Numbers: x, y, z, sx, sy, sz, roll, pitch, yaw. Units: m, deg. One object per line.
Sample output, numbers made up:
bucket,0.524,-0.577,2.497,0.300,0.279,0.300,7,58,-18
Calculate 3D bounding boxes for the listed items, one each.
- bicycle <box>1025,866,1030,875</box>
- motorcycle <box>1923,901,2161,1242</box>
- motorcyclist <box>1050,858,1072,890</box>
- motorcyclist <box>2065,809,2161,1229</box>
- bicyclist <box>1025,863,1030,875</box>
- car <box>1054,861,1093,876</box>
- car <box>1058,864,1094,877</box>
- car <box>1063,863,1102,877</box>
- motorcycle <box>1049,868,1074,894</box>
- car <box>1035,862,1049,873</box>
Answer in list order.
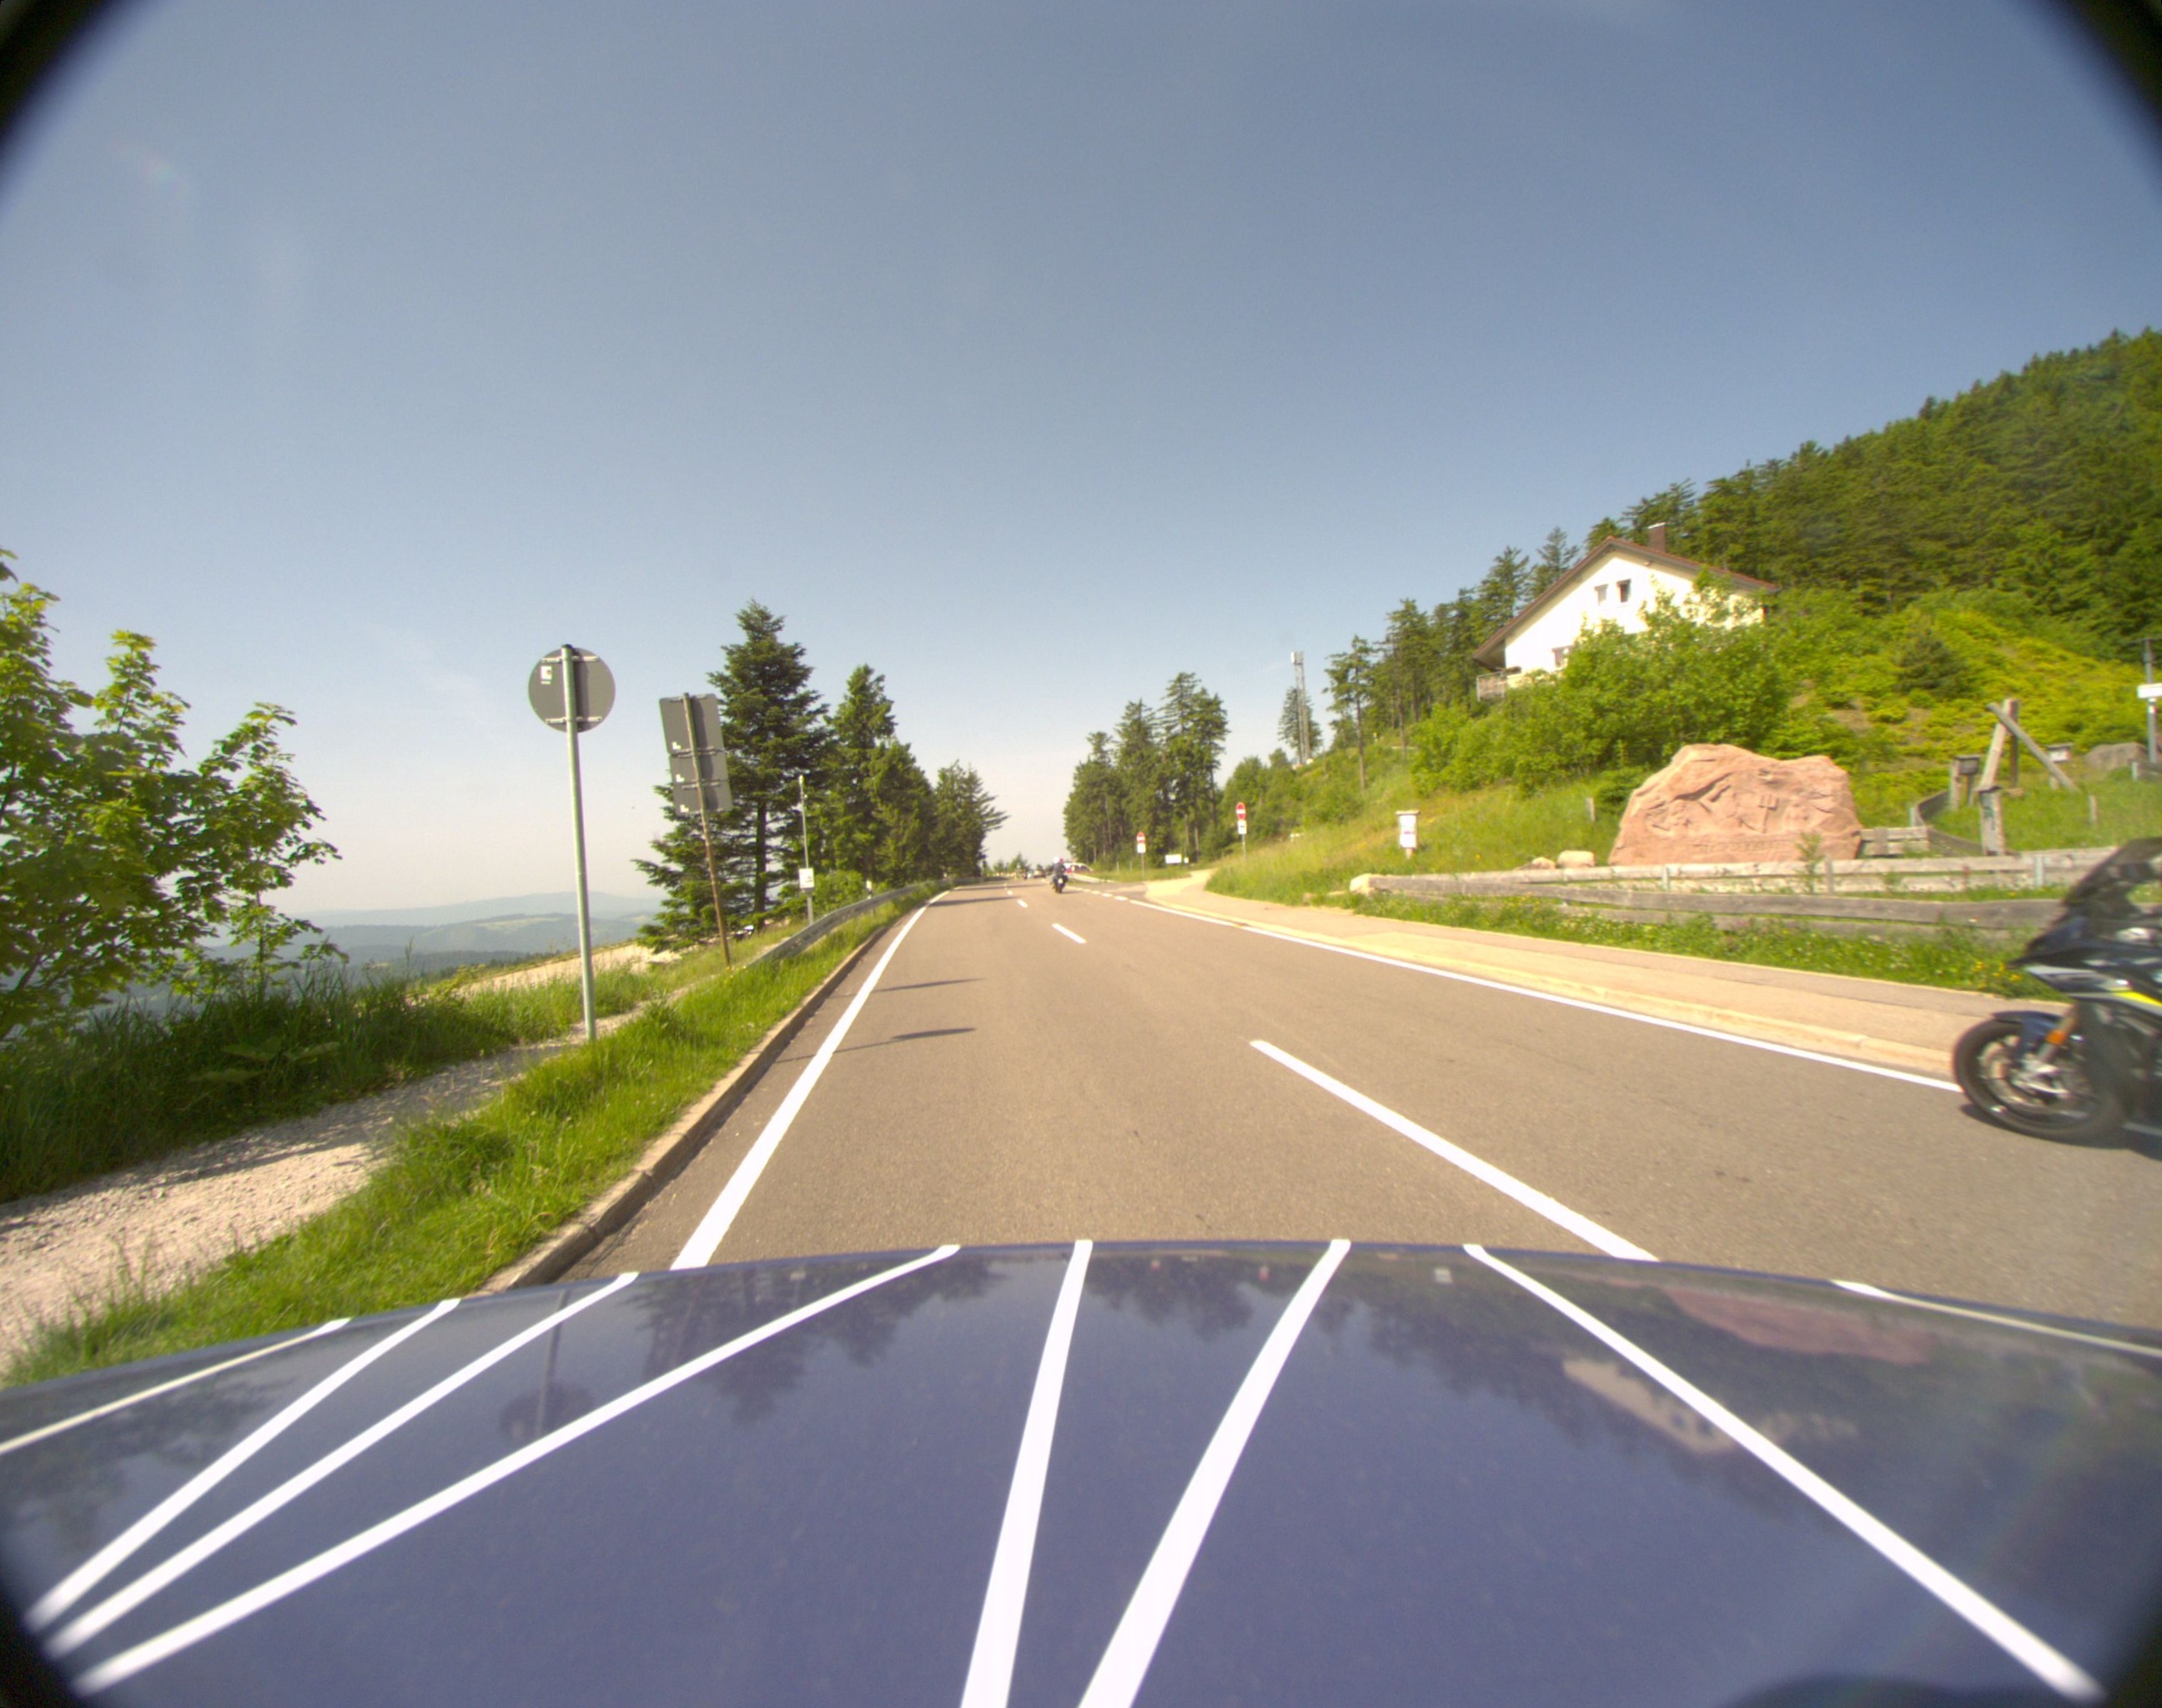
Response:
bicycle,-7.177,2.182,101.723,0.546,1.220,1.858,-2,0,-1
motorcycle,4.720,0.879,2.616,0.814,1.258,2.325,-3,1,-12
motorcyclist,-0.920,0.906,34.937,0.841,1.433,1.004,-2,1,-8
motorcyclist,4.690,0.624,2.627,0.882,1.632,1.298,-3,1,-12
bicyclist,-7.184,2.021,101.775,0.546,1.519,0.679,-2,0,-2
car,-1.017,1.828,98.115,4.732,1.870,1.931,-1,0,-8
car,-0.602,1.829,86.671,3.931,1.365,1.931,-1,0,-8
car,0.193,1.747,84.106,4.161,1.501,1.931,-1,0,-4
motorcycle,-0.909,1.205,34.911,0.841,1.090,2.181,-2,1,-8
car,-6.359,2.161,124.026,1.998,1.586,4.001,-2,0,2
